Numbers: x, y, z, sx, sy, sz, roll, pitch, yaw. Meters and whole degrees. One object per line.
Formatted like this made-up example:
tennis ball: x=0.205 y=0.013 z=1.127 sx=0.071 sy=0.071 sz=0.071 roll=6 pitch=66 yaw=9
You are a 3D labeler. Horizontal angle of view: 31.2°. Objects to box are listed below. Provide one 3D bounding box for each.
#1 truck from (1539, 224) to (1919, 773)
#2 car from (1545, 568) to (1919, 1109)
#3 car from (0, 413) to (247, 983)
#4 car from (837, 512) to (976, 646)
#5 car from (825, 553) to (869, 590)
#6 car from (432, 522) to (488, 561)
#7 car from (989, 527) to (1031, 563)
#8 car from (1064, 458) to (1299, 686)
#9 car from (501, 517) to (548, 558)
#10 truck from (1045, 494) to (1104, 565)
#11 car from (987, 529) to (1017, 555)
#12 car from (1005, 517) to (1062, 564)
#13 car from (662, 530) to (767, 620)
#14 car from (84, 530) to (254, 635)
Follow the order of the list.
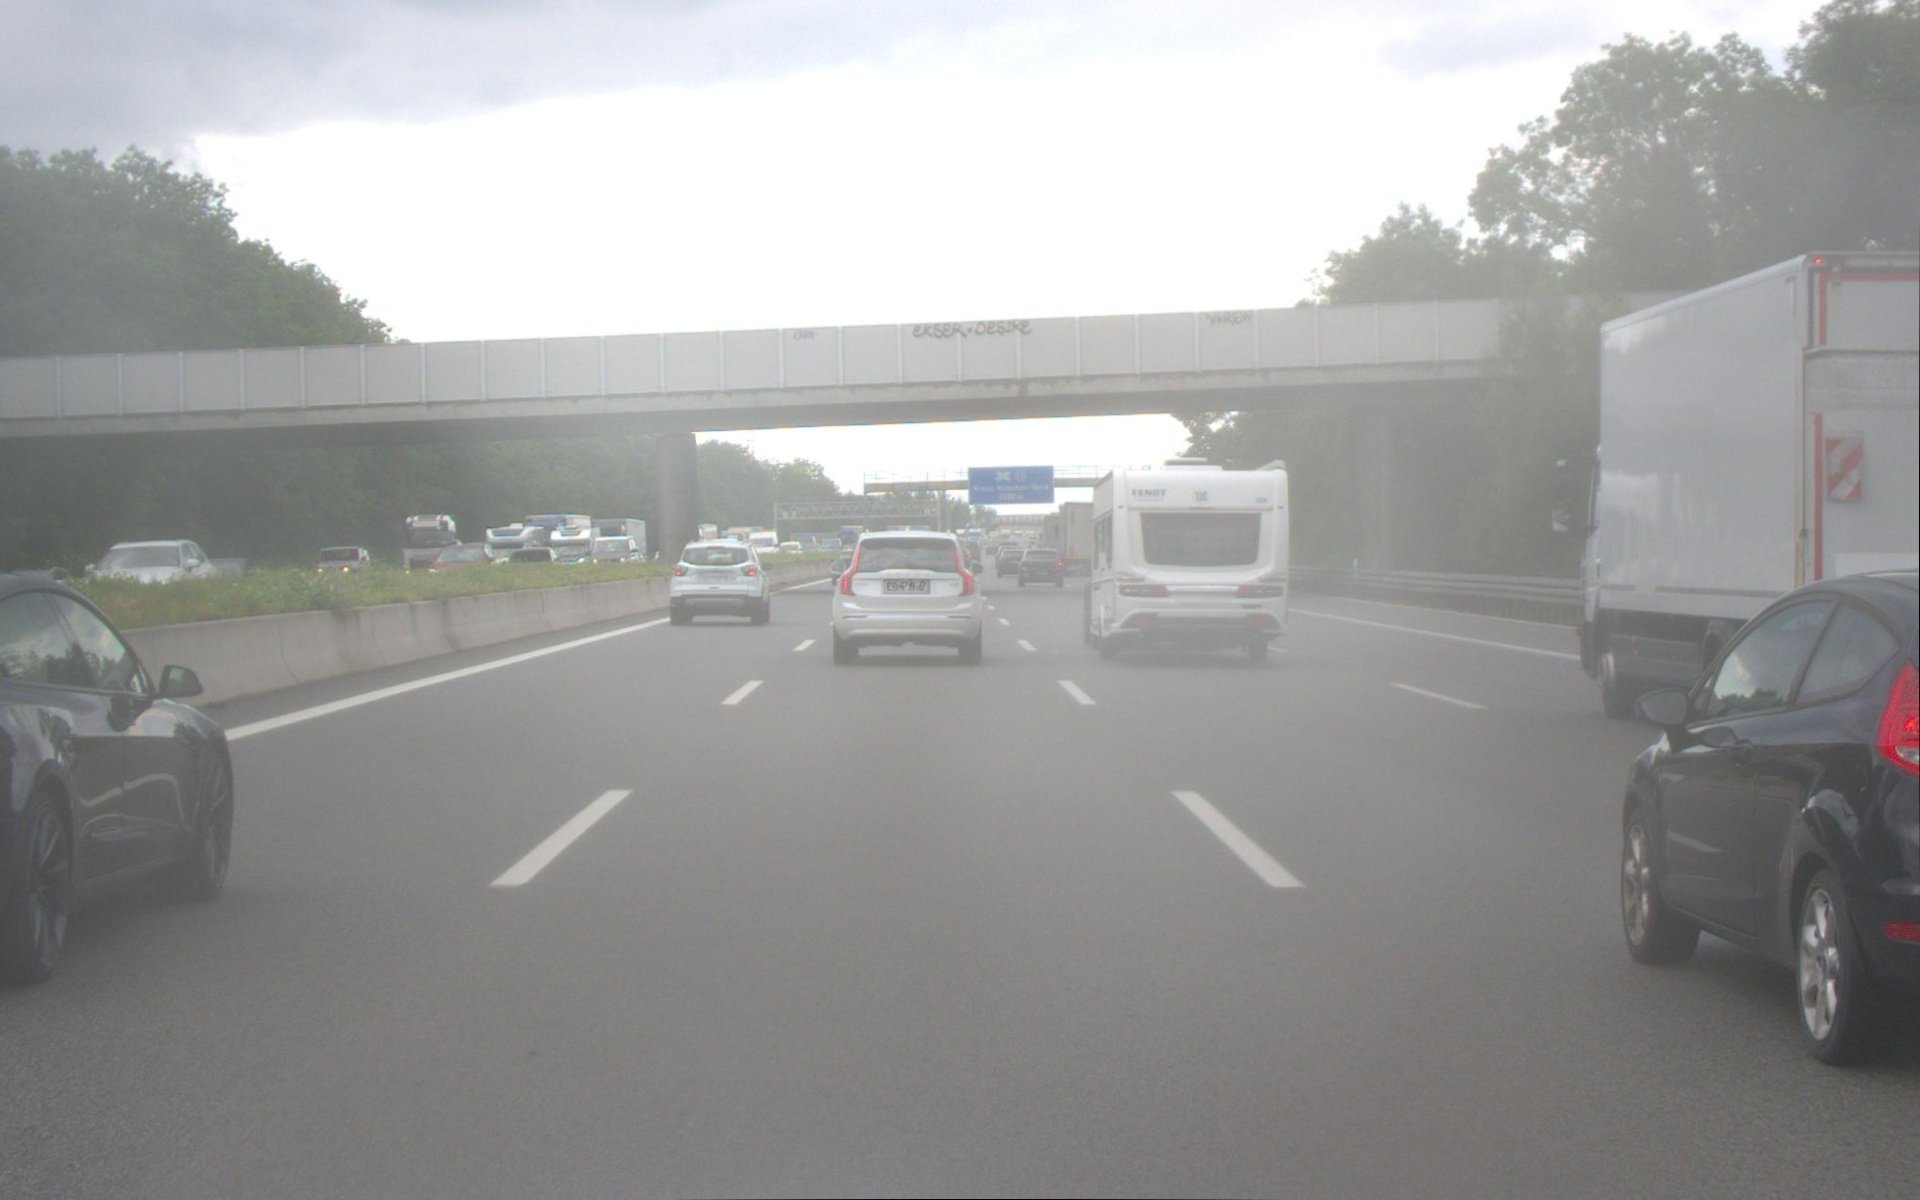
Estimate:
truck: x=7.138 y=-0.787 z=28.077 sx=3.133 sy=3.697 sz=9.848 roll=0 pitch=1 yaw=0
car: x=3.264 y=0.621 z=11.356 sx=1.885 sy=1.402 sz=4.283 roll=0 pitch=1 yaw=-1
car: x=-4.084 y=0.277 z=12.539 sx=1.993 sy=1.814 sz=5.163 roll=0 pitch=1 yaw=-1
car: x=-0.696 y=-0.318 z=45.987 sx=1.781 sy=1.710 sz=4.353 roll=0 pitch=1 yaw=0
car: x=-4.736 y=-1.211 z=144.227 sx=1.781 sy=1.476 sz=4.353 roll=0 pitch=1 yaw=-1
car: x=-25.449 y=-2.996 z=175.047 sx=2.220 sy=1.945 sz=4.829 roll=0 pitch=1 yaw=-1
car: x=2.564 y=-2.866 z=177.681 sx=2.043 sy=1.817 sz=4.904 roll=0 pitch=1 yaw=-1
car: x=2.917 y=-0.436 z=47.239 sx=2.567 sy=2.885 sz=7.534 roll=0 pitch=1 yaw=-1
car: x=-21.802 y=-3.127 z=172.131 sx=1.993 sy=2.007 sz=4.001 roll=0 pitch=1 yaw=-2
truck: x=6.235 y=-3.838 z=187.625 sx=2.906 sy=3.797 sz=7.274 roll=0 pitch=1 yaw=-1
car: x=2.952 y=-4.088 z=241.556 sx=2.043 sy=1.817 sz=4.904 roll=0 pitch=1 yaw=0
car: x=2.874 y=-2.344 z=135.329 sx=2.043 sy=1.817 sz=4.904 roll=0 pitch=1 yaw=-1
car: x=-4.901 y=-0.536 z=69.161 sx=1.815 sy=1.684 sz=4.852 roll=0 pitch=2 yaw=-1
car: x=-14.563 y=-0.365 z=63.566 sx=1.993 sy=1.843 sz=5.225 roll=0 pitch=1 yaw=-1
